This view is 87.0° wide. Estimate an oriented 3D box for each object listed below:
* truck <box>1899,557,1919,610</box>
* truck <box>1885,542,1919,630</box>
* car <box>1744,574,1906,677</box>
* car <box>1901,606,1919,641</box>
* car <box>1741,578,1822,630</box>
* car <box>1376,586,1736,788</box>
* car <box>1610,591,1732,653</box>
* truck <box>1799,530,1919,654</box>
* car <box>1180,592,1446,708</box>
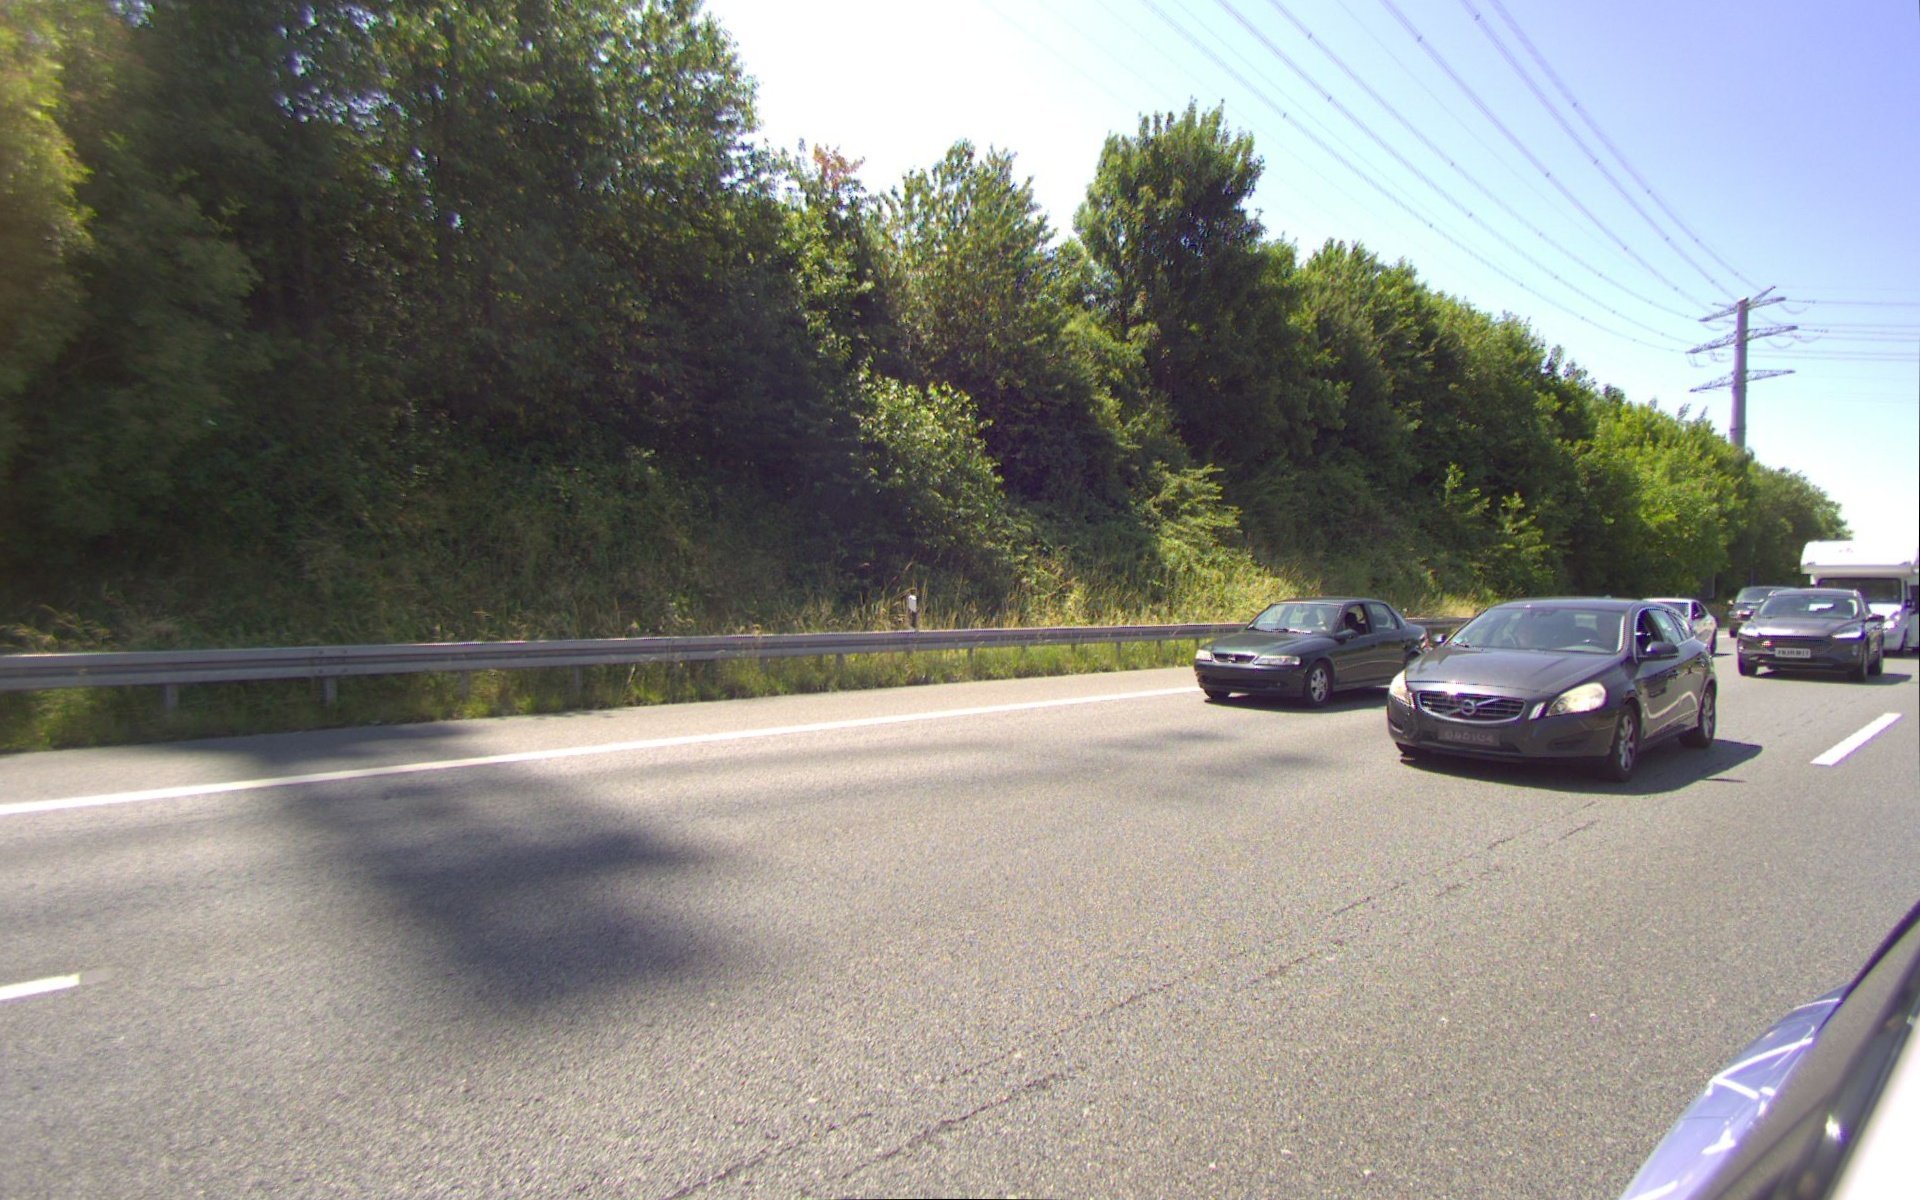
[{"bbox_3d":[69.288,-1.159,72.410,9.037,3.623,2.405,-1,0,-43],"label":"truck"},{"bbox_3d":[37.263,-0.530,38.070,9.724,3.053,2.512,-1,0,-41],"label":"truck"},{"bbox_3d":[16.444,0.401,19.169,4.310,1.724,1.889,-1,1,-43],"label":"car"},{"bbox_3d":[50.232,1.195,52.447,4.310,1.724,1.889,-1,1,-43],"label":"car"},{"bbox_3d":[32.315,0.122,39.764,4.618,1.928,1.786,-1,0,-42],"label":"car"},{"bbox_3d":[5.660,0.601,9.376,4.160,1.455,1.798,-1,1,-43],"label":"car"},{"bbox_3d":[18.521,0.516,26.298,3.945,1.488,1.743,0,1,-42],"label":"car"},{"bbox_3d":[26.625,-0.243,28.939,9.724,3.053,2.512,-1,0,-41],"label":"truck"},{"bbox_3d":[5.082,0.587,14.282,4.228,1.395,1.737,-1,0,-42],"label":"car"}]
